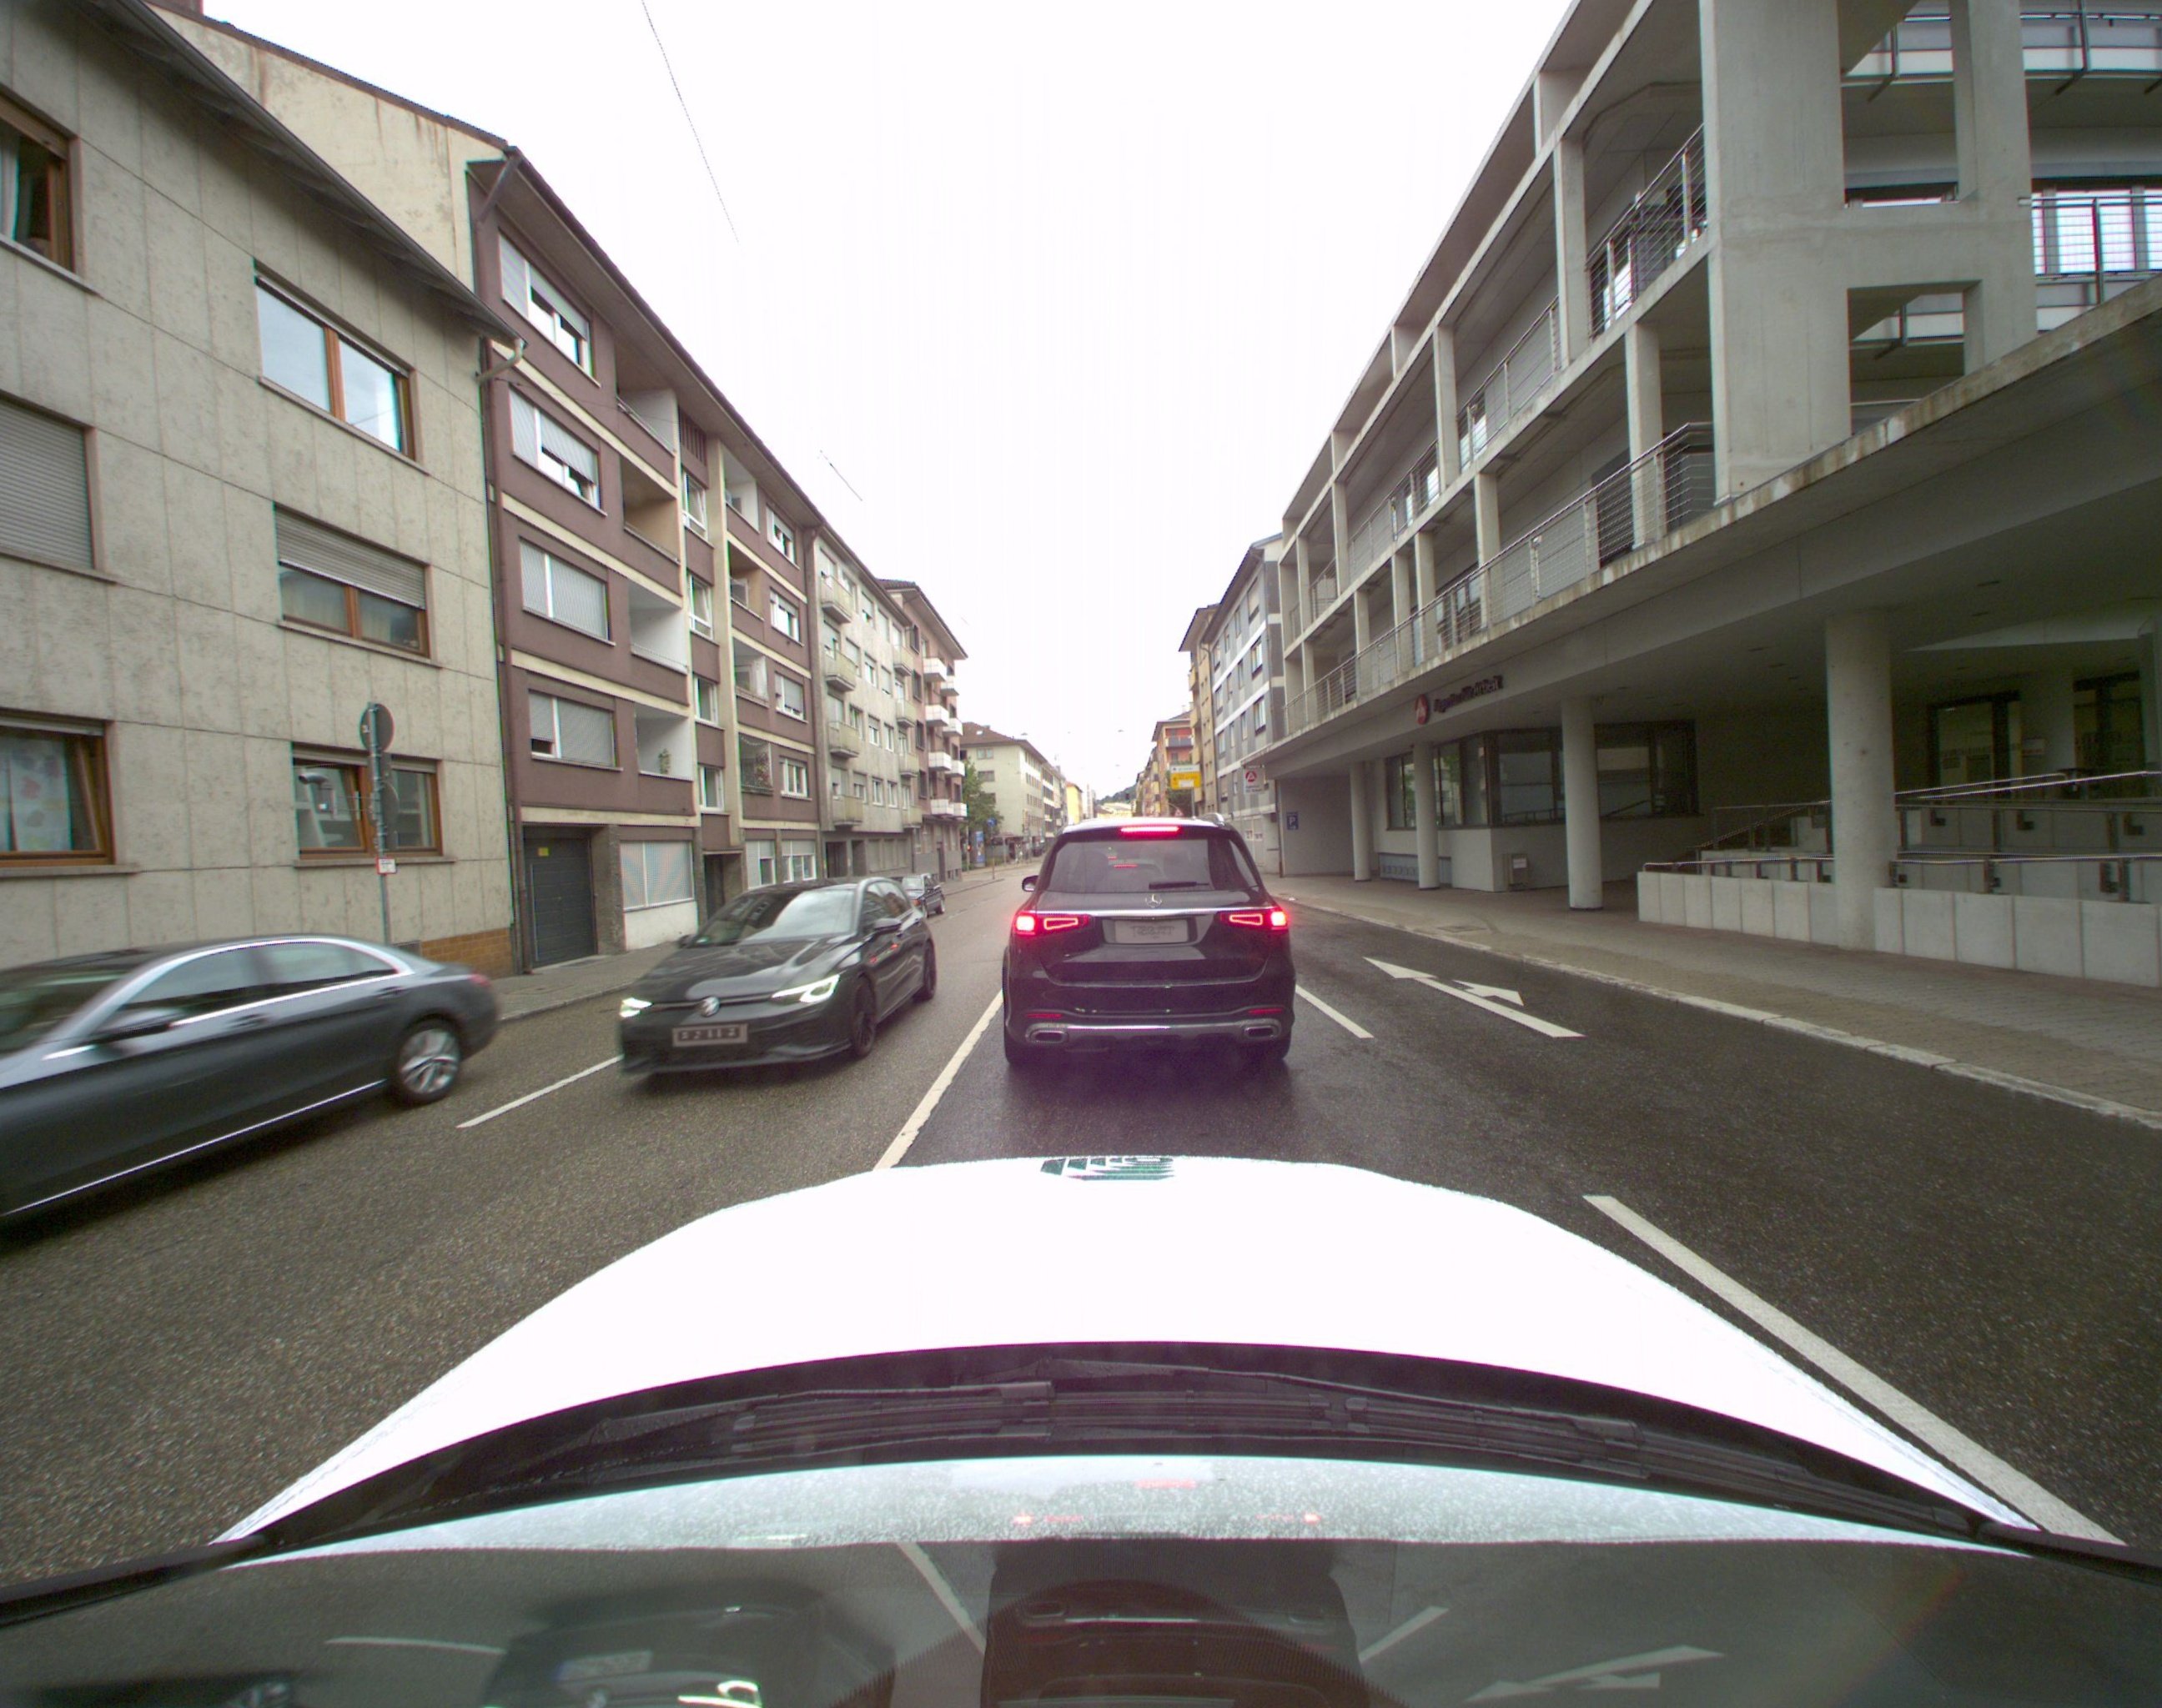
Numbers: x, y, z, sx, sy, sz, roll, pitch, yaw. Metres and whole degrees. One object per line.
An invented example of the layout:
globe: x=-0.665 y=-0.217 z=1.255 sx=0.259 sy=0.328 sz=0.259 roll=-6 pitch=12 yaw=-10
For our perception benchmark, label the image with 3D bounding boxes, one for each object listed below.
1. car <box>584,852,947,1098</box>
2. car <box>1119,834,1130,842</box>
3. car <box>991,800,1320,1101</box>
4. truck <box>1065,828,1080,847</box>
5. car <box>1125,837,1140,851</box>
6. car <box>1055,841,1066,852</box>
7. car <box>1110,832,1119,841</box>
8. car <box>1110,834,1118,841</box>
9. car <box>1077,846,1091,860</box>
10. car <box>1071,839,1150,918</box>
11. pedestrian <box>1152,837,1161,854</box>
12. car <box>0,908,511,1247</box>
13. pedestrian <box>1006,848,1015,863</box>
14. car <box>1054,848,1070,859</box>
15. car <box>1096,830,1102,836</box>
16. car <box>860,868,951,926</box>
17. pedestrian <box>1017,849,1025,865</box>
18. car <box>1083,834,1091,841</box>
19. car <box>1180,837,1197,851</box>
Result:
car: x=-2.563 y=0.876 z=7.828 sx=1.689 sy=1.580 sz=4.218 roll=-5 pitch=-1 yaw=1
car: x=8.040 y=-2.956 z=150.370 sx=1.613 sy=1.387 sz=4.216 roll=-5 pitch=-1 yaw=0
car: x=0.518 y=0.602 z=7.129 sx=1.977 sy=1.805 sz=4.391 roll=0 pitch=-1 yaw=2
truck: x=-1.597 y=-3.154 z=157.363 sx=2.472 sy=3.046 sz=9.917 roll=-5 pitch=-1 yaw=0
car: x=7.188 y=-1.387 z=114.396 sx=1.718 sy=1.759 sz=4.216 roll=-5 pitch=-1 yaw=0
car: x=-3.343 y=-1.168 z=131.932 sx=1.613 sy=1.539 sz=4.216 roll=-5 pitch=-1 yaw=0
car: x=6.640 y=-3.491 z=161.862 sx=1.613 sy=1.539 sz=4.216 roll=-5 pitch=-1 yaw=0
car: x=7.802 y=-3.904 z=192.307 sx=1.613 sy=1.539 sz=4.216 roll=-5 pitch=-1 yaw=0
car: x=0.388 y=-0.125 z=101.422 sx=1.613 sy=1.539 sz=4.216 roll=-5 pitch=-1 yaw=0
car: x=0.675 y=0.588 z=20.950 sx=1.746 sy=1.731 sz=4.216 roll=-3 pitch=-1 yaw=0
pedestrian: x=9.021 y=-1.047 z=97.710 sx=0.920 sy=2.013 sz=0.706 roll=-3 pitch=0 yaw=0
car: x=-5.850 y=1.213 z=4.854 sx=1.689 sy=1.370 sz=4.366 roll=-5 pitch=-1 yaw=0
pedestrian: x=-8.873 y=0.170 z=102.398 sx=0.920 sy=1.902 sz=0.706 roll=-3 pitch=0 yaw=0
car: x=-2.519 y=-0.111 z=108.070 sx=1.879 sy=1.264 sz=4.216 roll=-5 pitch=-1 yaw=0
car: x=5.548 y=-6.351 z=250.335 sx=1.613 sy=1.539 sz=4.216 roll=-5 pitch=-1 yaw=0
car: x=-5.146 y=1.203 z=24.435 sx=1.593 sy=1.370 sz=4.362 roll=-6 pitch=0 yaw=1
pedestrian: x=-6.899 y=0.305 z=94.146 sx=0.631 sy=1.764 sz=0.776 roll=-3 pitch=0 yaw=13
car: x=1.454 y=-3.930 z=193.963 sx=1.613 sy=1.539 sz=4.216 roll=-5 pitch=-1 yaw=0
car: x=12.482 y=-1.162 z=94.531 sx=1.664 sy=1.588 sz=3.334 roll=-3 pitch=0 yaw=4
